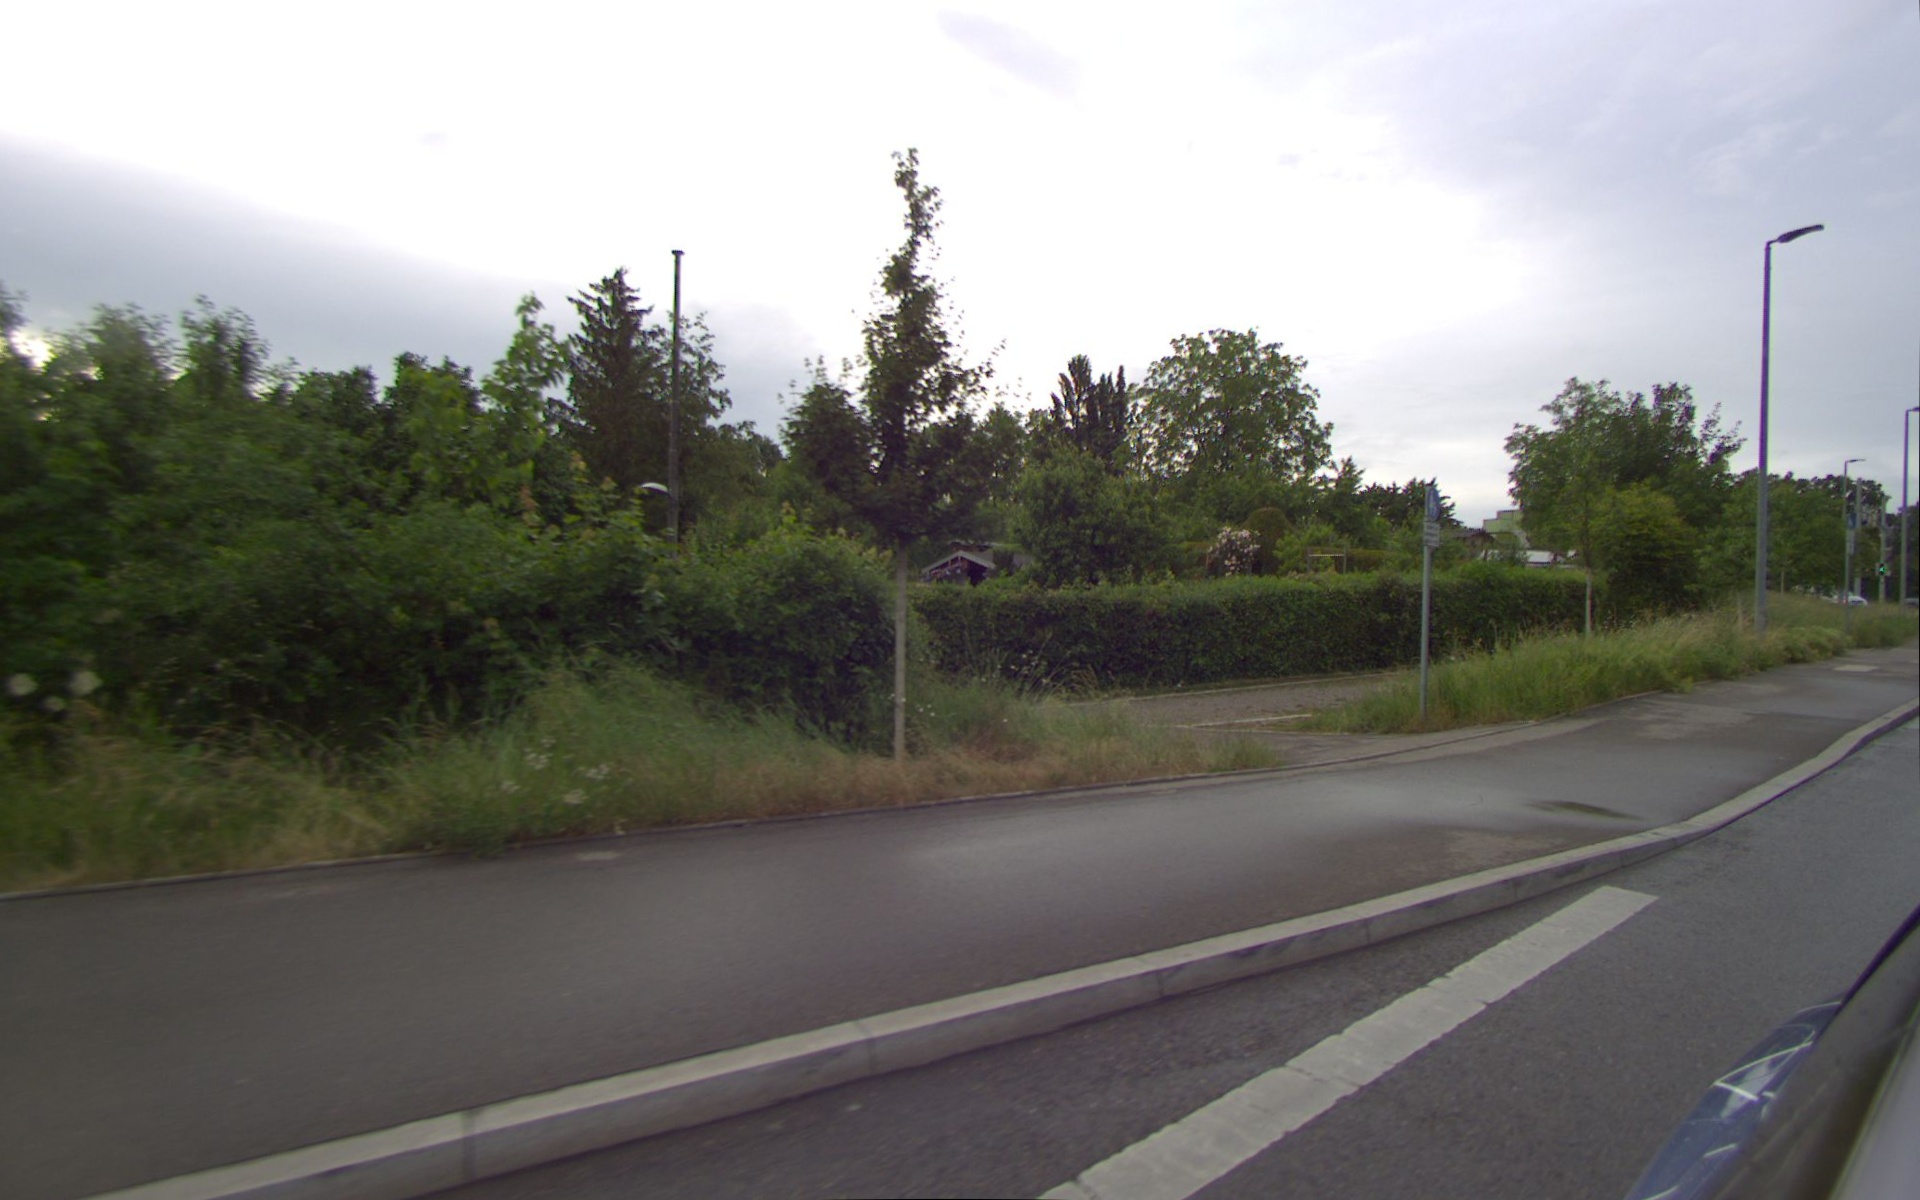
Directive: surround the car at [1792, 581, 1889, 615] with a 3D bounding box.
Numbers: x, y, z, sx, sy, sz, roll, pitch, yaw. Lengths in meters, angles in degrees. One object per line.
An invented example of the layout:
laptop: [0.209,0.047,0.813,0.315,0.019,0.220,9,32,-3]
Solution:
car: [50.609,-0.157,58.287,1.787,1.623,4.071,-2,4,-6]
